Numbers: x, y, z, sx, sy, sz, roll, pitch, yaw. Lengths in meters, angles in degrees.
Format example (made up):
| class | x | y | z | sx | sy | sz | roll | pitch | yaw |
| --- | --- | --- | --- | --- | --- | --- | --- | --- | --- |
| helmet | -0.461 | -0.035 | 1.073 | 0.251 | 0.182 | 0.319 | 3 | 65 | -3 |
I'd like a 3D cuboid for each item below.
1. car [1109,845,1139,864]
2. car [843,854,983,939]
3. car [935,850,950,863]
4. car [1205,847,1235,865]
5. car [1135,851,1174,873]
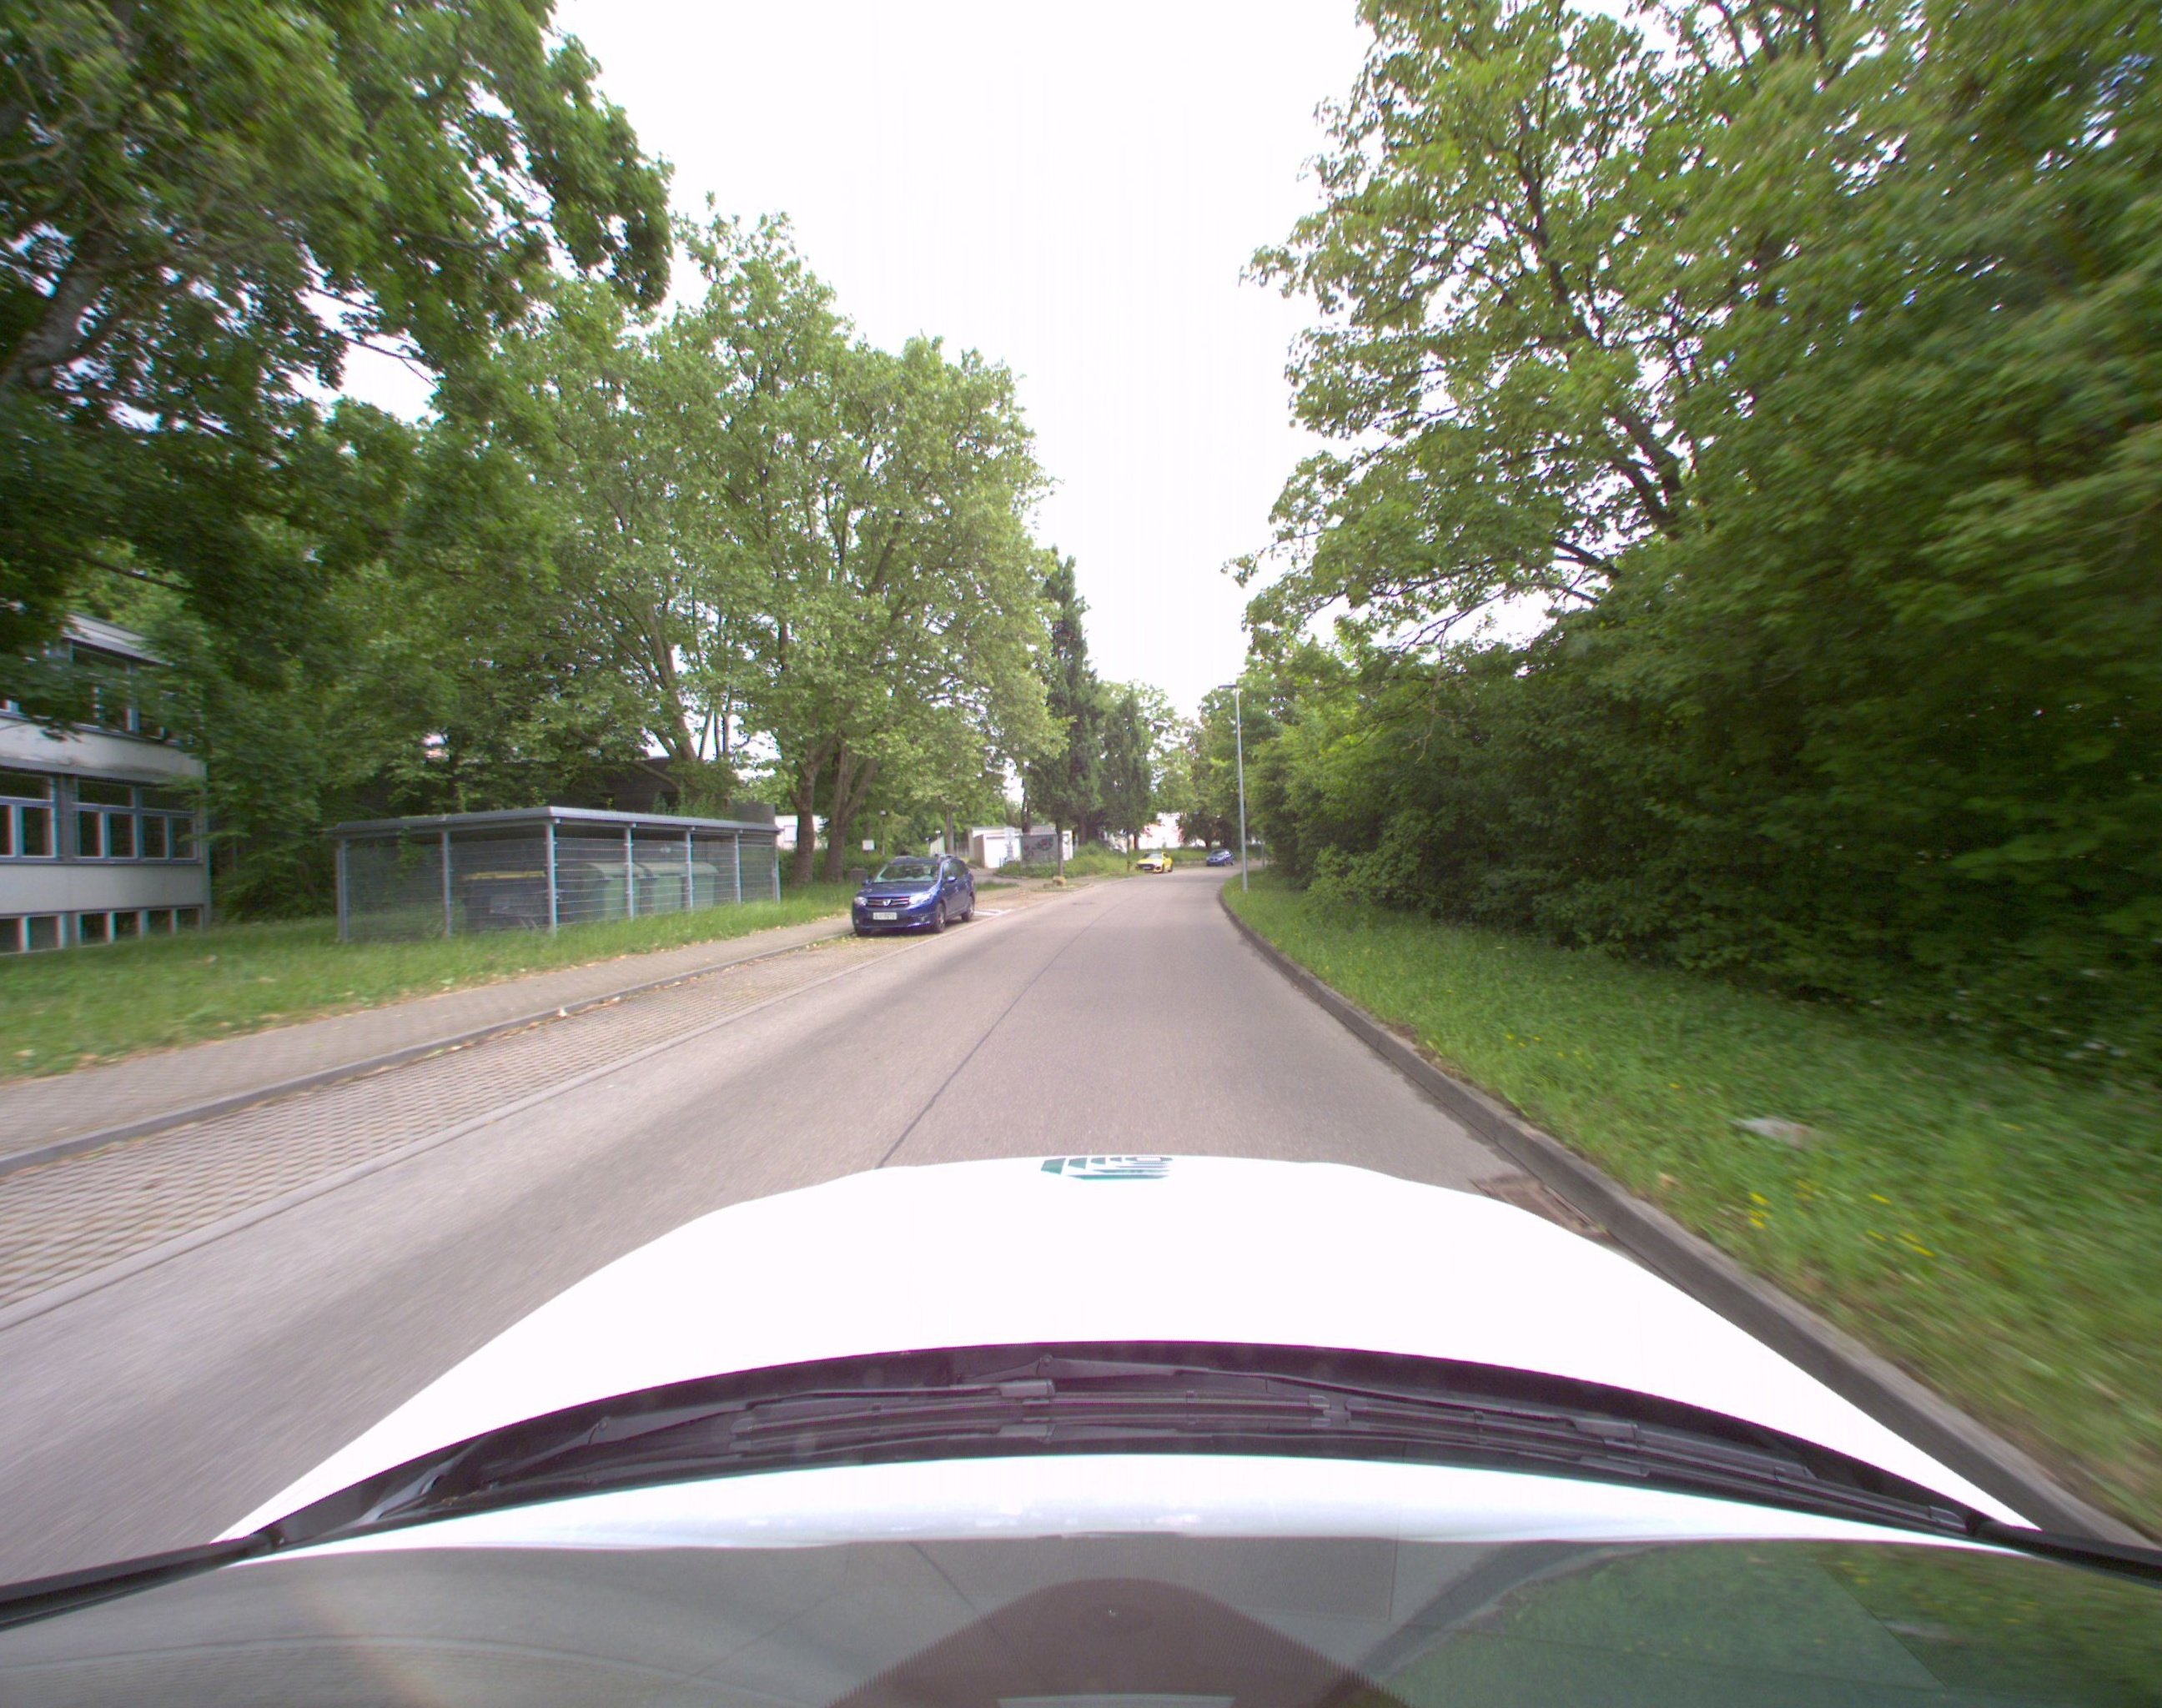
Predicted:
| class | x | y | z | sx | sy | sz | roll | pitch | yaw |
| --- | --- | --- | --- | --- | --- | --- | --- | --- | --- |
| car | 3.911 | 0.035 | 74.938 | 1.742 | 1.622 | 3.857 | -3 | 0 | -12 |
| car | -3.409 | 0.804 | 17.389 | 1.672 | 1.511 | 4.437 | -2 | 0 | 5 |
| car | -19.339 | 0.352 | 113.734 | 1.870 | 1.746 | 3.991 | -3 | 0 | -7 |
| car | 12.184 | 0.172 | 71.375 | 1.519 | 1.459 | 3.742 | -2 | 0 | 26 |
| car | 4.983 | 0.533 | 54.748 | 1.686 | 1.403 | 4.293 | -1 | 0 | 18 |
